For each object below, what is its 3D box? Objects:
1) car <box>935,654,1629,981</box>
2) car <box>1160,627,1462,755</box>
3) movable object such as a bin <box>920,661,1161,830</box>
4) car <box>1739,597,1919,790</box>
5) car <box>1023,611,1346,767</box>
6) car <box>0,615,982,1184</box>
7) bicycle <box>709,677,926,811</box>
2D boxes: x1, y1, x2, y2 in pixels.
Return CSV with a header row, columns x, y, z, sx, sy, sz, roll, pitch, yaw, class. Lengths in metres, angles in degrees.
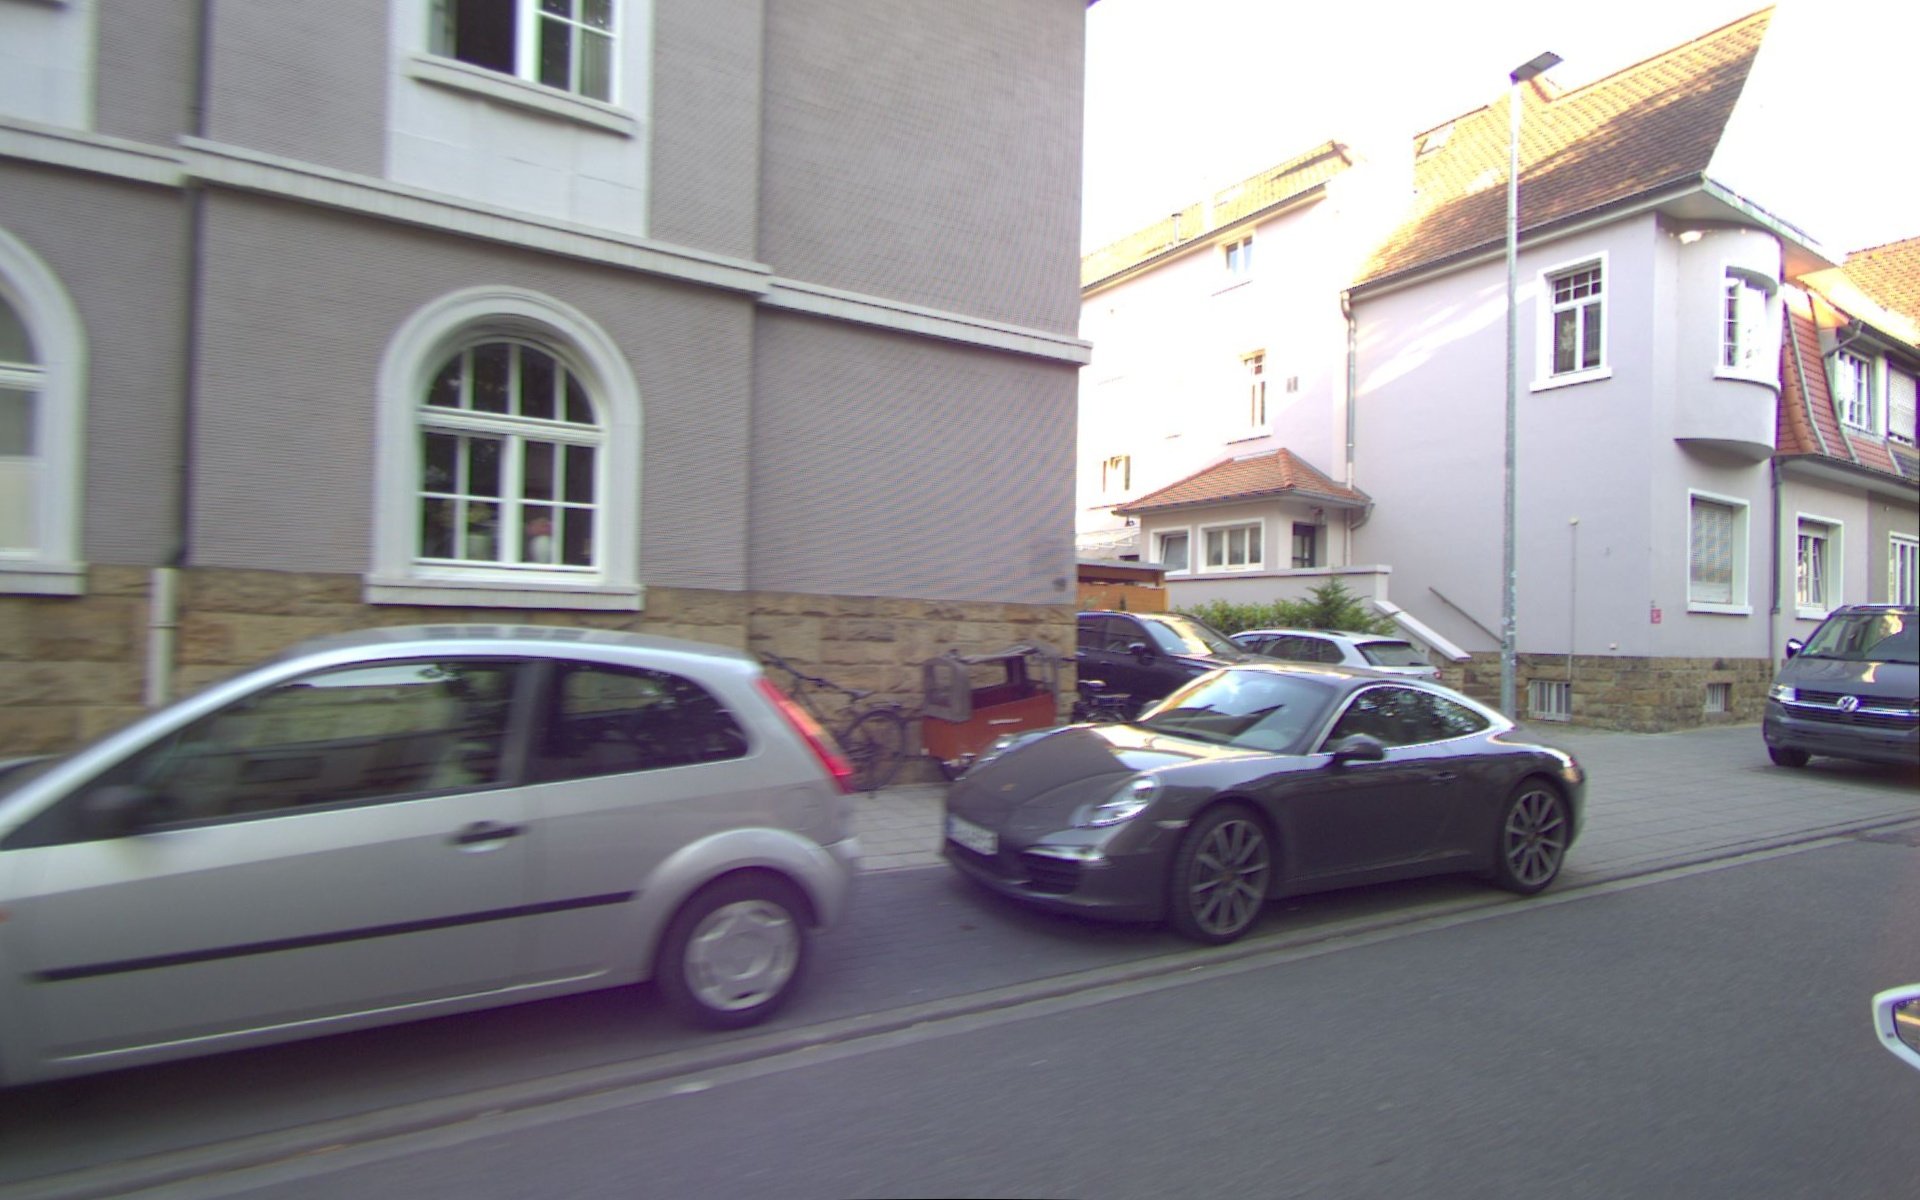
x,y,z,sx,sy,sz,roll,pitch,yaw,class
2.054,1.040,6.066,4.174,1.336,1.525,1,0,-28,car
4.760,1.157,14.136,1.618,1.463,3.840,1,-1,-33,car
0.733,1.205,8.826,2.071,1.300,0.718,2,-1,-30,movable object such as a bin
11.620,1.021,12.059,4.795,1.973,1.972,2,0,-31,car
2.705,0.984,12.872,1.877,1.643,3.840,1,-1,-33,car
-2.019,0.836,3.895,3.912,1.465,1.646,2,0,-29,car
-1.119,1.120,8.088,1.702,0.949,0.392,2,-1,-30,bicycle
